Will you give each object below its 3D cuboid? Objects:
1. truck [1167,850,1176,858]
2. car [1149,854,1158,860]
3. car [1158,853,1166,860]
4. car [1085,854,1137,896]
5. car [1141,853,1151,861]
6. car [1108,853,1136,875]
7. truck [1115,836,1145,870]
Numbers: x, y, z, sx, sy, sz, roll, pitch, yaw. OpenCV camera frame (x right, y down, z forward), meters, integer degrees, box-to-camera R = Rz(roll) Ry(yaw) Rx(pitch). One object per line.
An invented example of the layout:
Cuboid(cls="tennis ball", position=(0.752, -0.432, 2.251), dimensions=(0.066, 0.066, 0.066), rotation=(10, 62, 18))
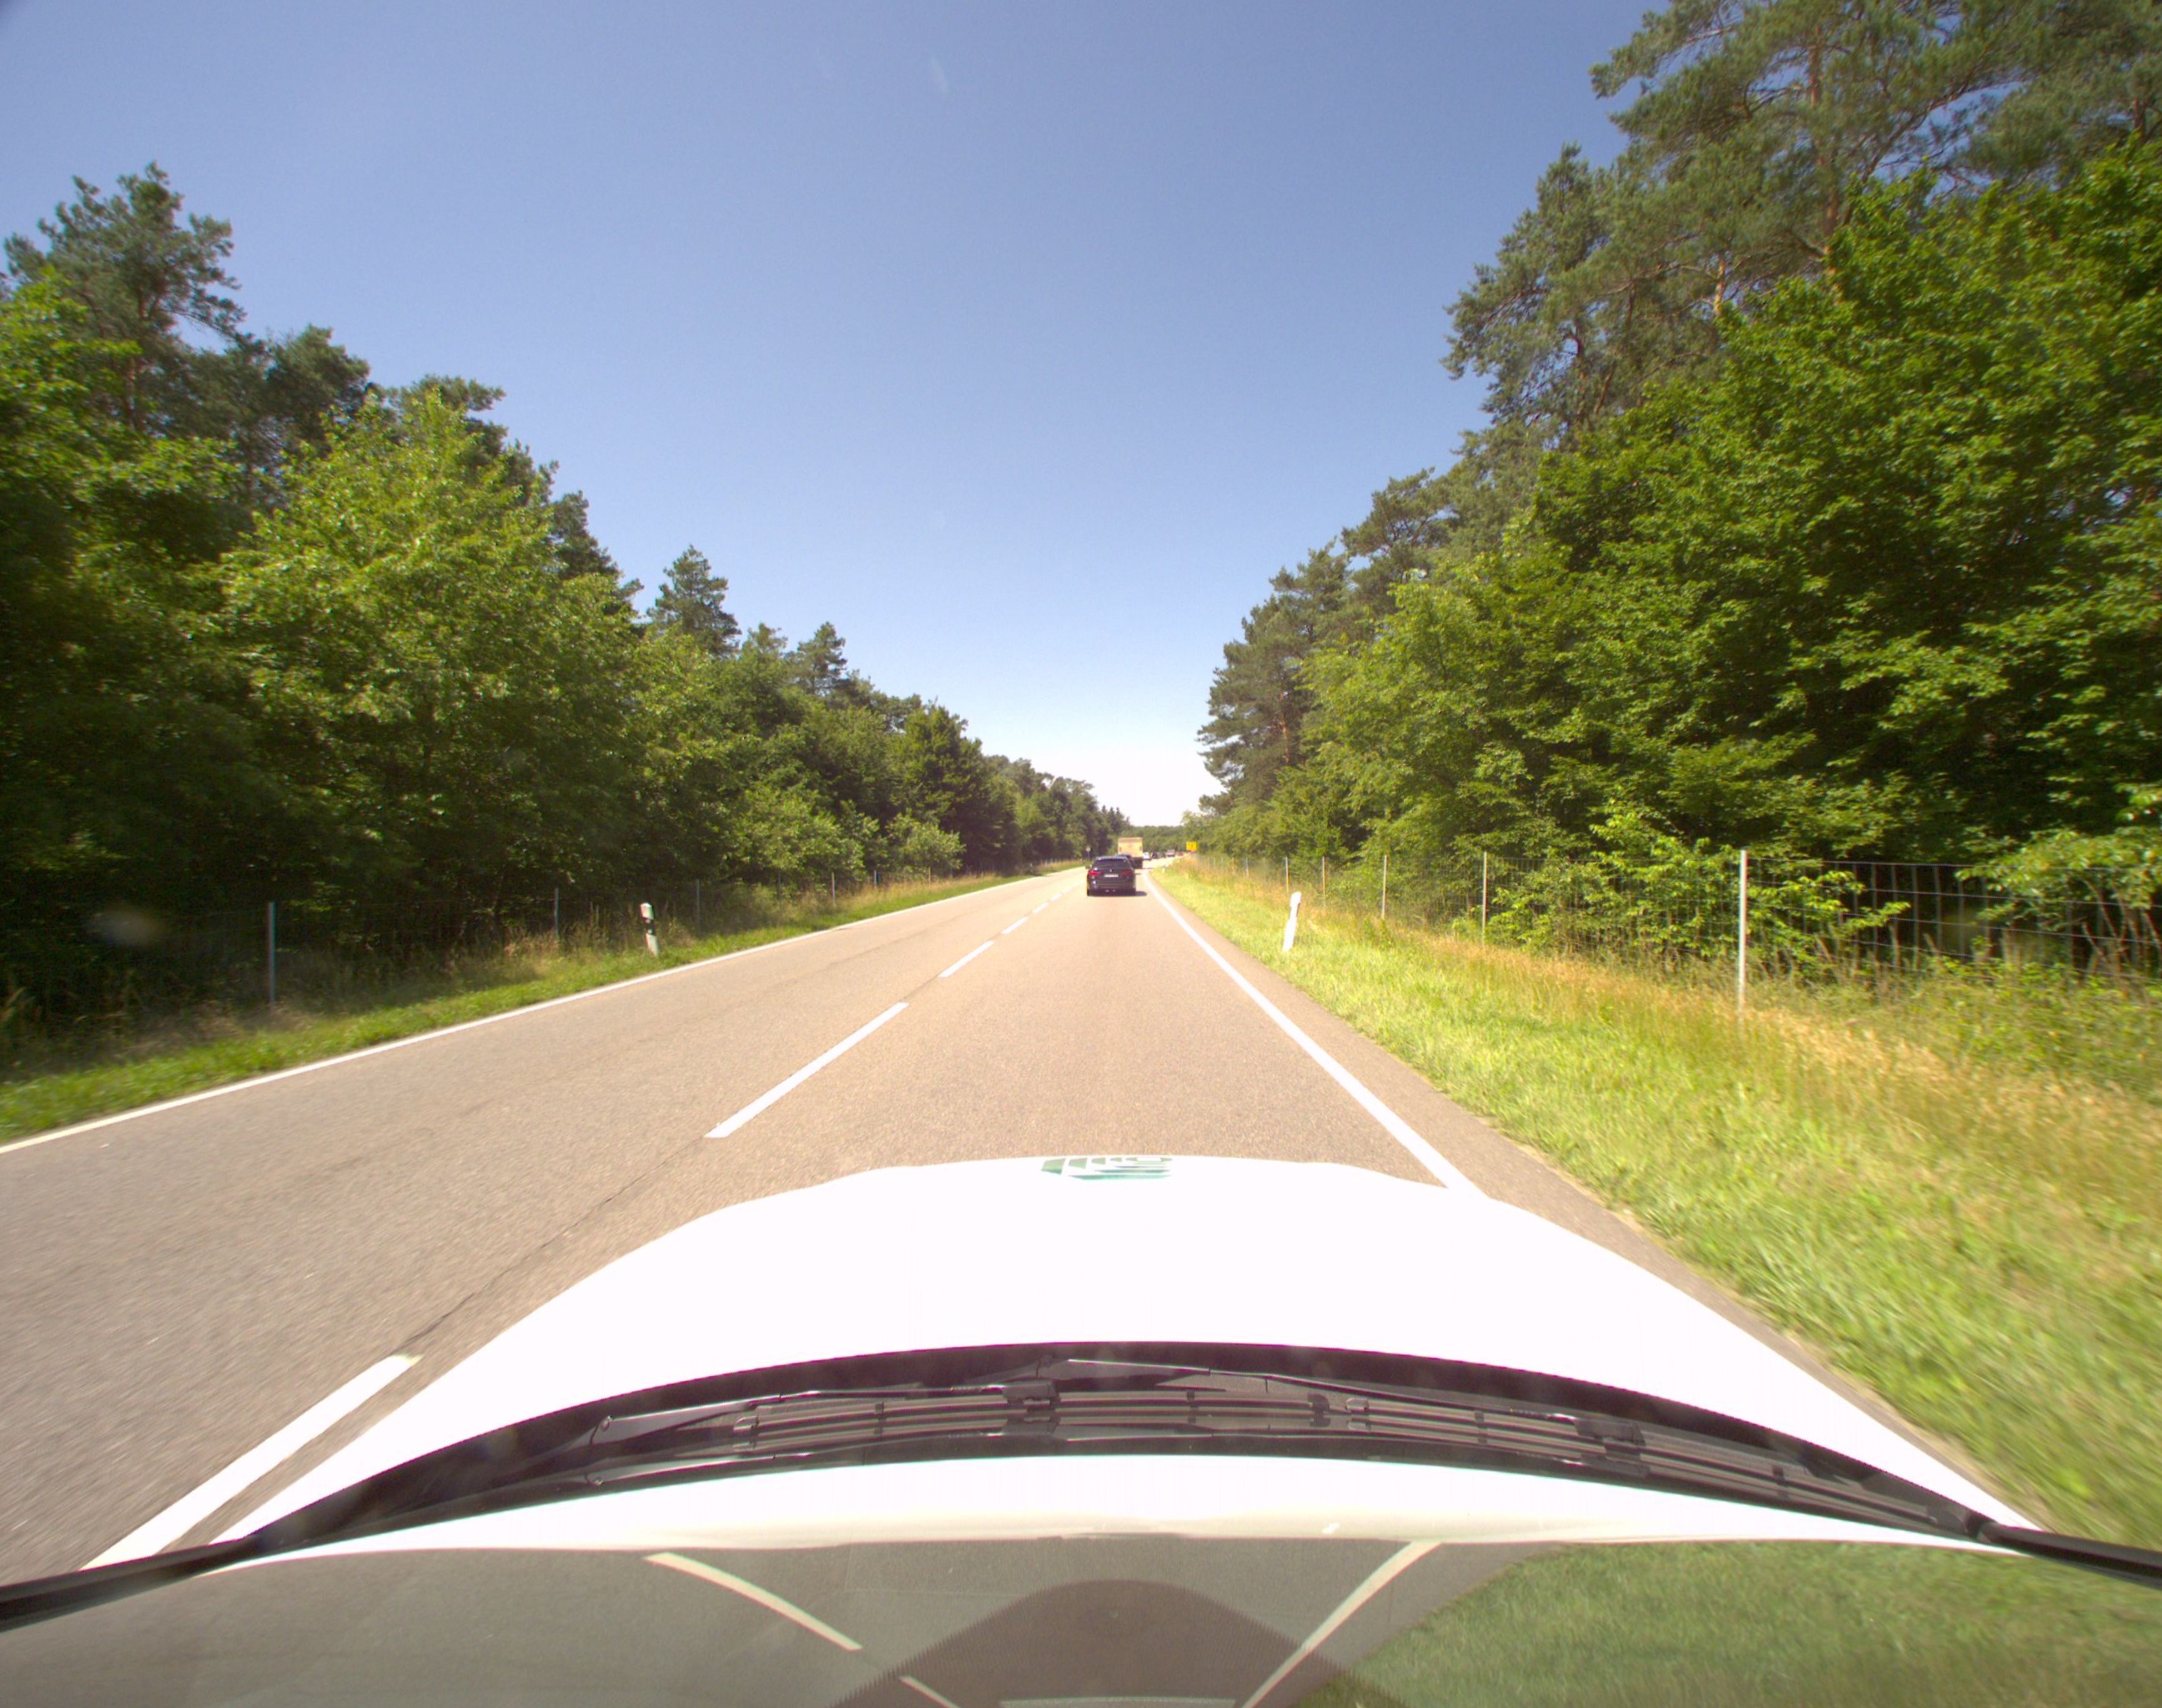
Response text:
Cuboid(cls="truck", position=(27.519, 0.020, 248.121), dimensions=(2.553, 2.202, 4.978), rotation=(-1, 0, 3))
Cuboid(cls="car", position=(17.579, 0.681, 196.748), dimensions=(1.983, 1.420, 4.008), rotation=(-1, 0, 7))
Cuboid(cls="car", position=(21.929, 0.687, 219.510), dimensions=(1.984, 1.636, 4.006), rotation=(-3, 0, 5))
Cuboid(cls="car", position=(1.093, 0.751, 31.516), dimensions=(1.815, 1.470, 3.999), rotation=(-2, 0, 0))
Cuboid(cls="car", position=(13.114, 0.638, 164.902), dimensions=(1.855, 1.605, 4.003), rotation=(0, 0, 3))
Cuboid(cls="car", position=(3.147, 0.755, 63.259), dimensions=(1.940, 1.541, 4.001), rotation=(-3, 0, 1))
Cuboid(cls="truck", position=(5.201, -0.084, 86.030), dimensions=(2.952, 3.387, 6.445), rotation=(-2, 0, 4))
